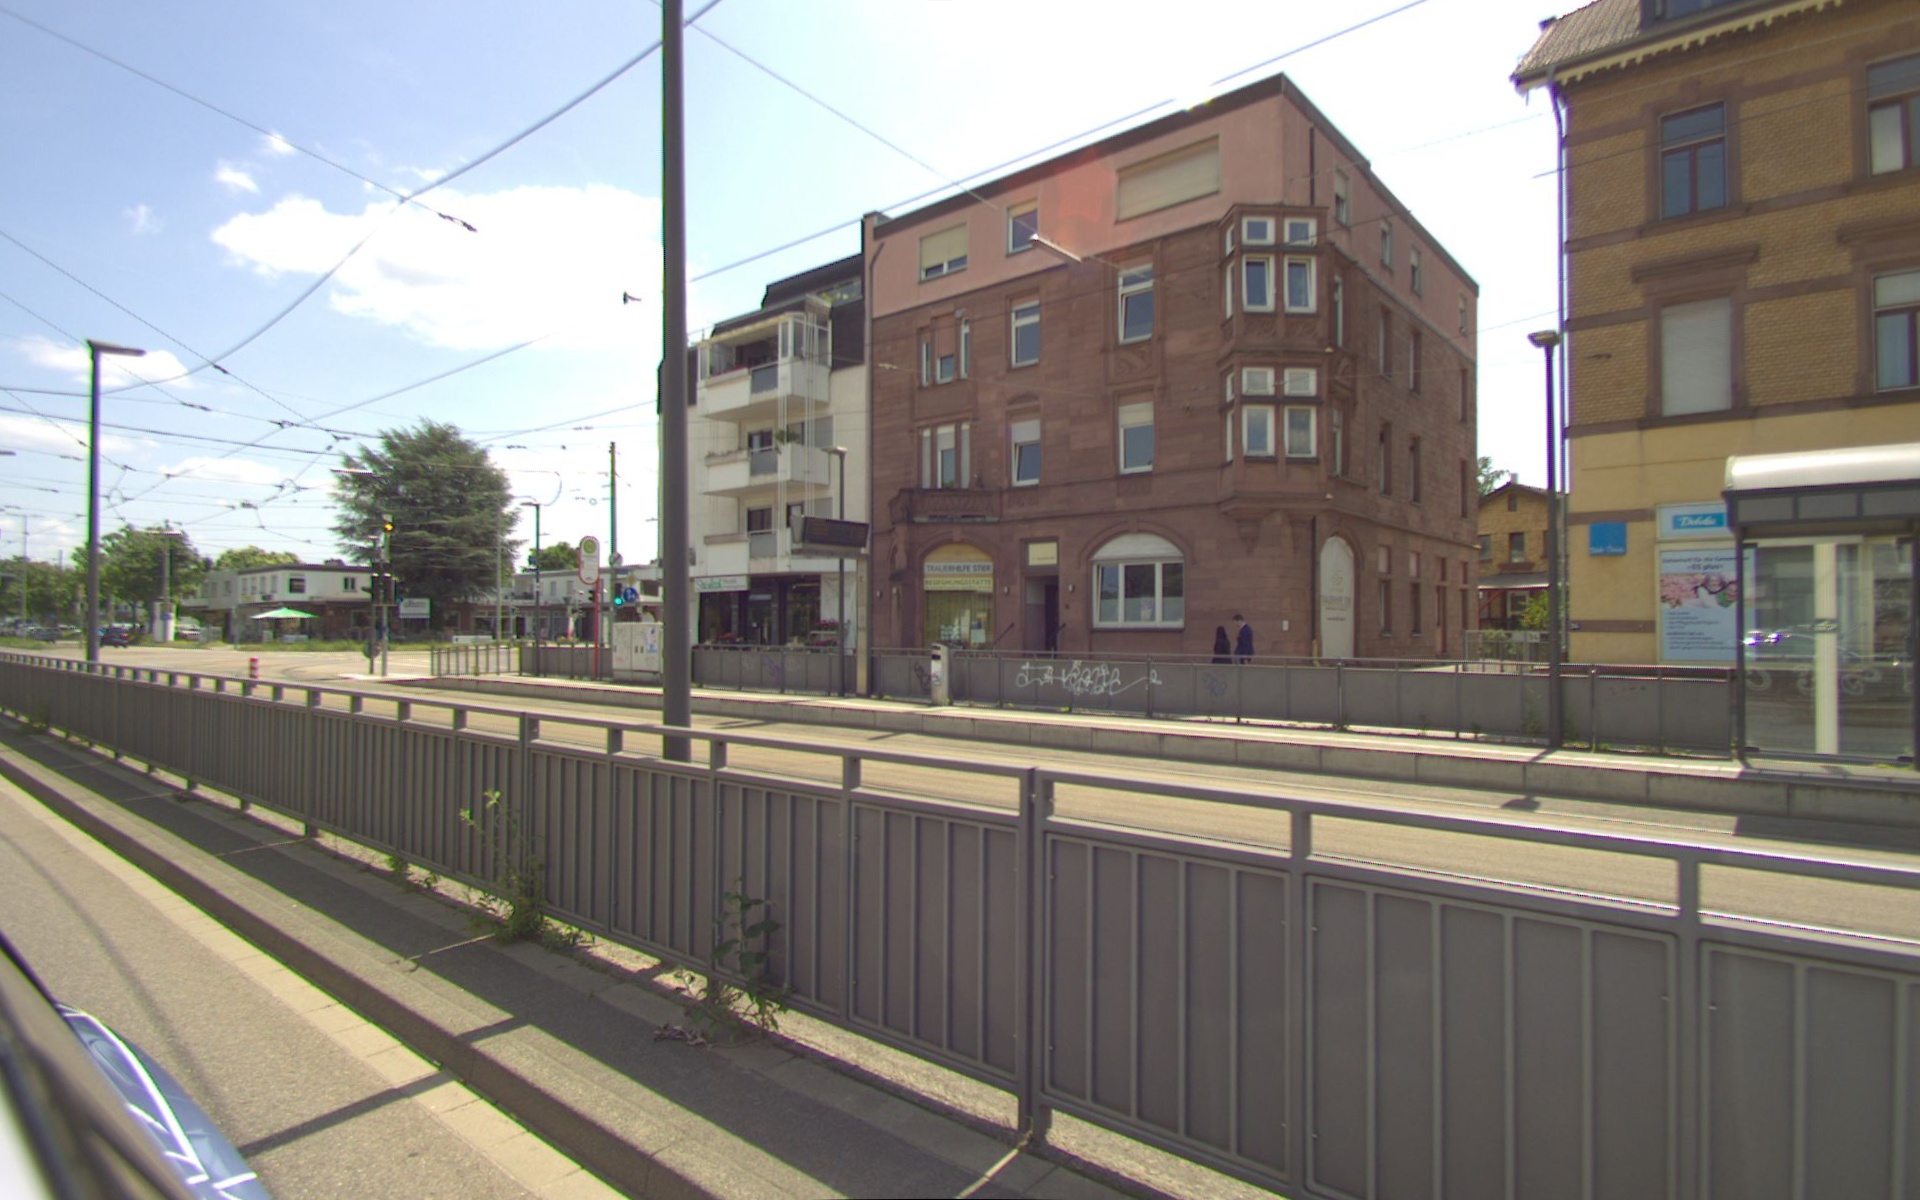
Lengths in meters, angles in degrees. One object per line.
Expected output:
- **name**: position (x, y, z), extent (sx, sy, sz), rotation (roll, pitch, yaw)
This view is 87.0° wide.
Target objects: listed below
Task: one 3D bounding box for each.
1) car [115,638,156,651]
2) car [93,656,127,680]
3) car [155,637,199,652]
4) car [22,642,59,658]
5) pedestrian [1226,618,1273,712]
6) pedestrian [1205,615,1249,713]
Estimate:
- **car**: position (-110.217, 5.961, 135.285), extent (1.902, 1.749, 3.945), rotation (-1, -2, 41)
- **car**: position (-65.428, 5.184, 77.875), extent (1.703, 1.696, 4.282), rotation (1, -3, -44)
- **car**: position (-133.749, 7.661, 172.917), extent (2.257, 2.500, 5.628), rotation (-1, -2, 37)
- **car**: position (-86.337, 4.679, 95.038), extent (4.398, 1.482, 1.973), rotation (-1, -3, 40)
- **pedestrian**: position (6.396, 1.420, 22.365), extent (0.809, 2.029, 0.611), rotation (-2, -4, 38)
- **pedestrian**: position (5.684, 1.339, 21.509), extent (0.684, 2.029, 0.670), rotation (-1, -1, 38)
